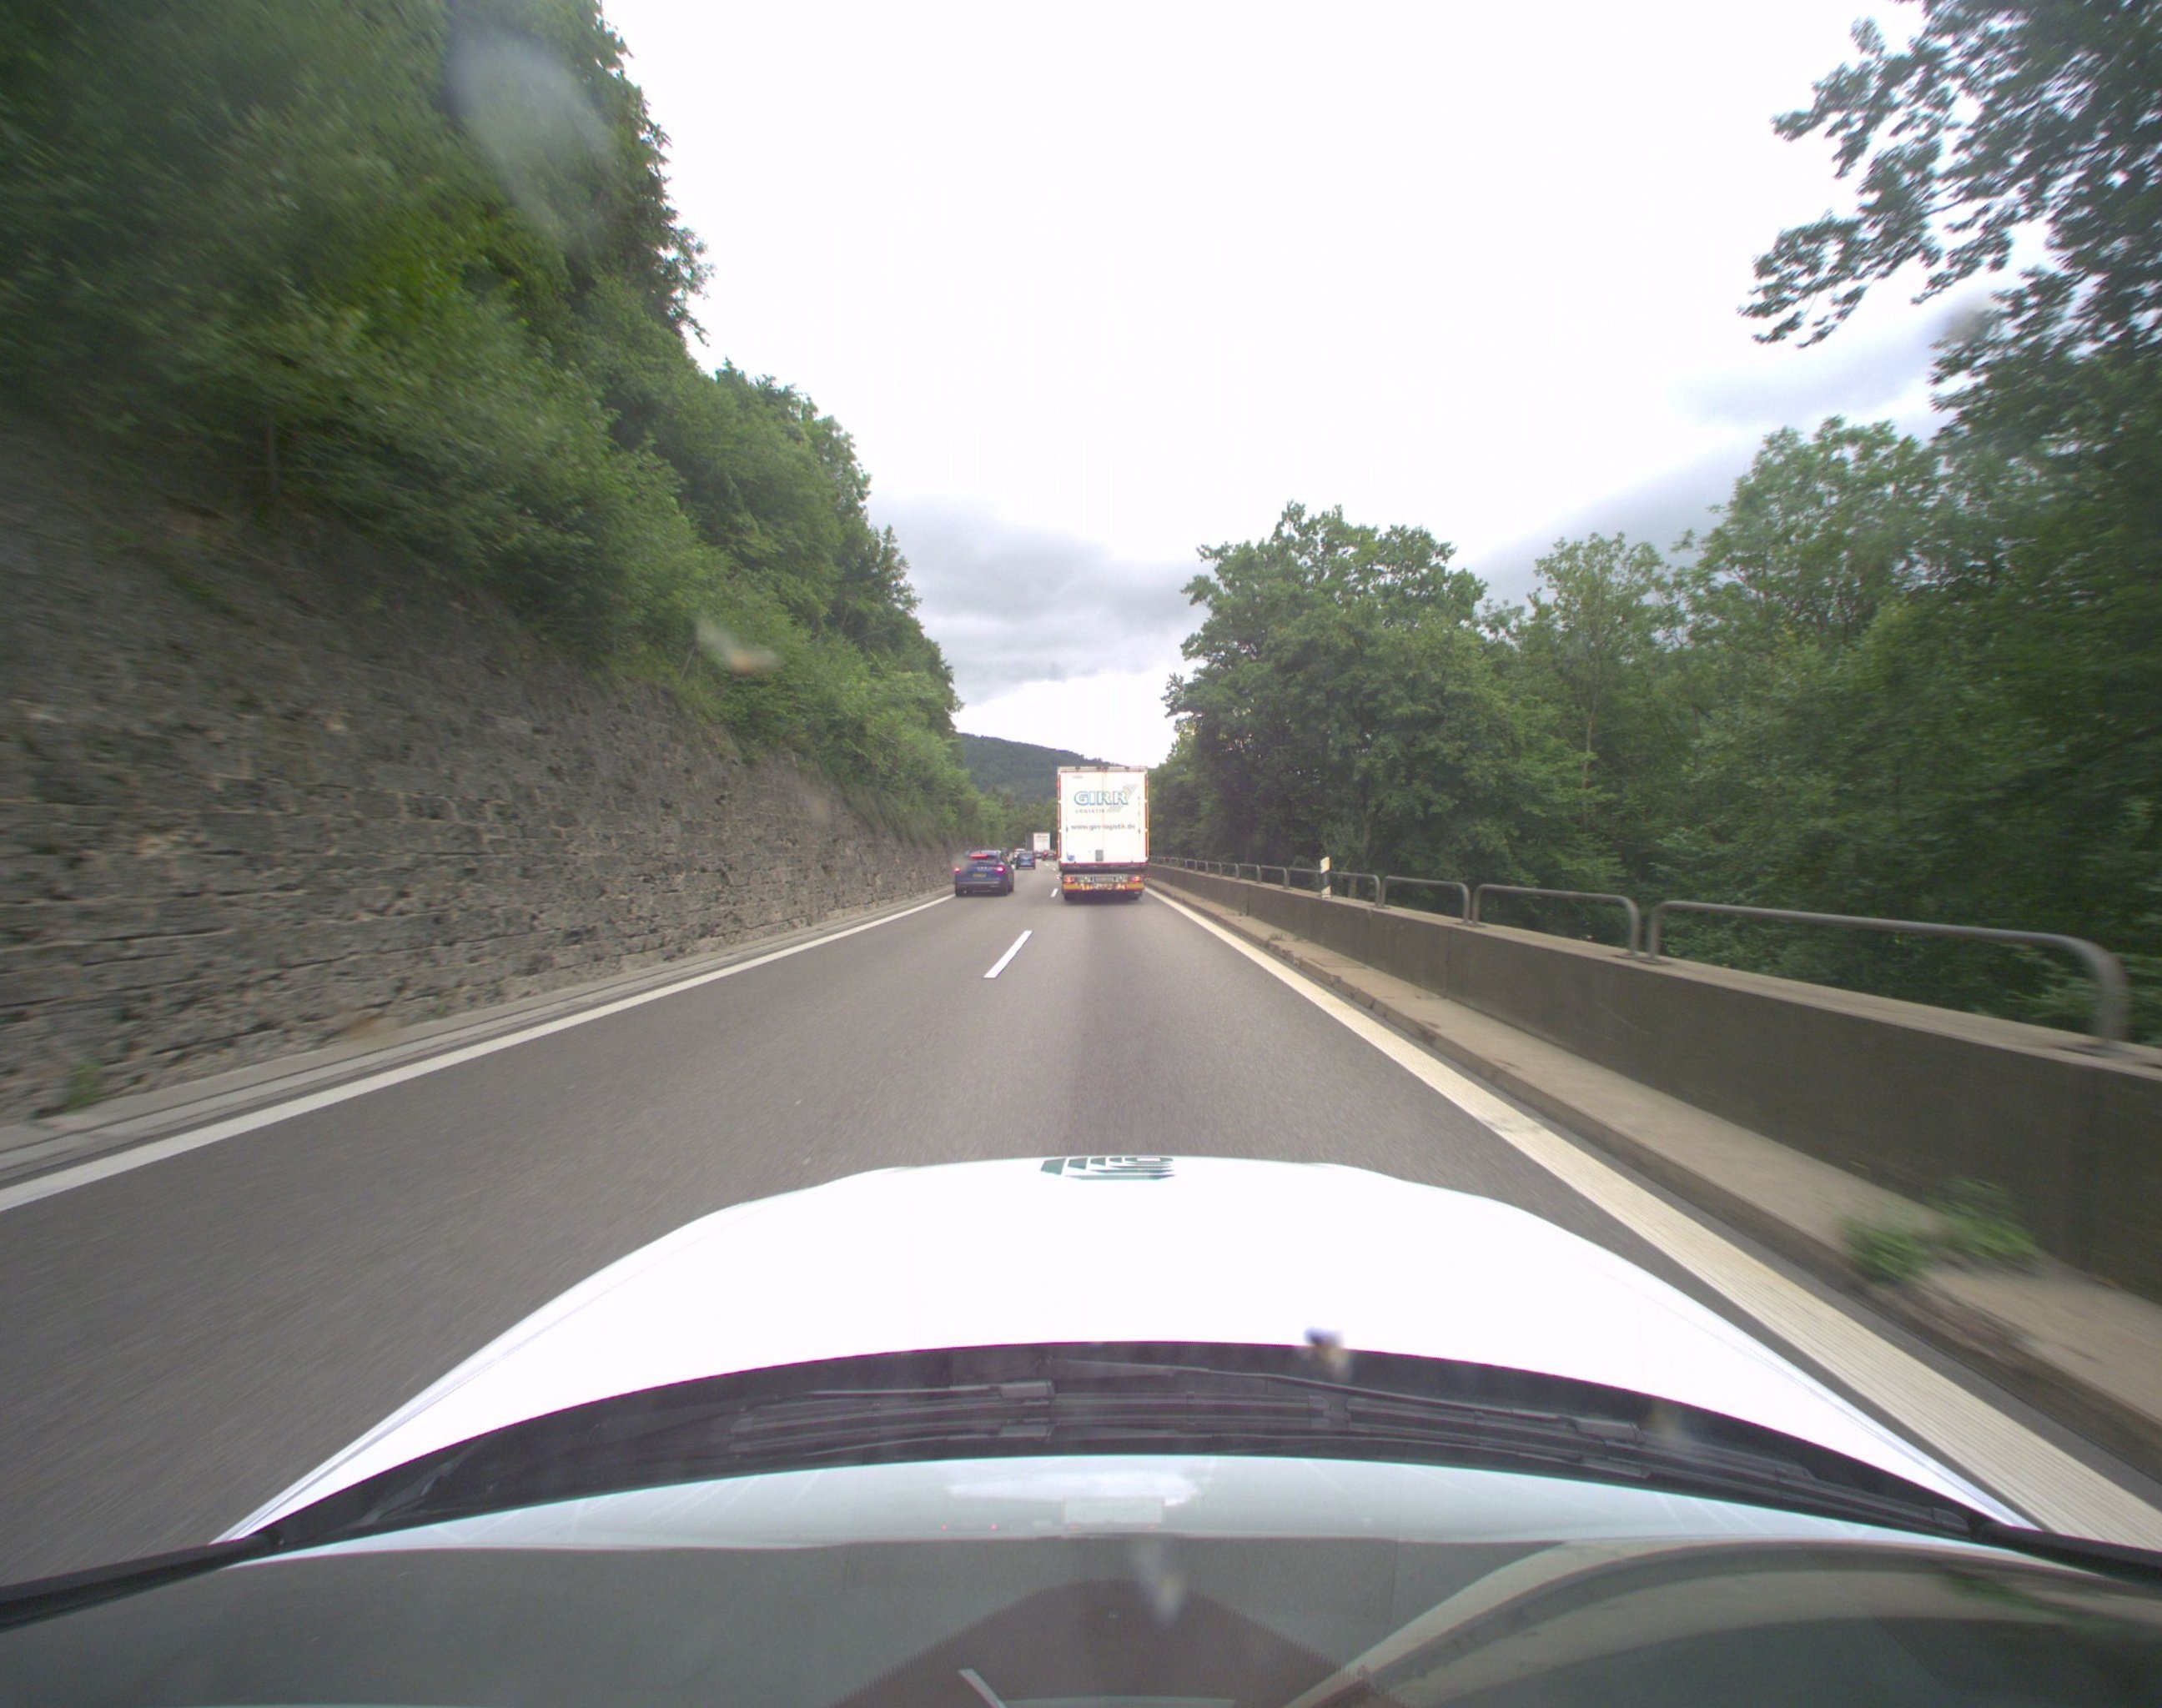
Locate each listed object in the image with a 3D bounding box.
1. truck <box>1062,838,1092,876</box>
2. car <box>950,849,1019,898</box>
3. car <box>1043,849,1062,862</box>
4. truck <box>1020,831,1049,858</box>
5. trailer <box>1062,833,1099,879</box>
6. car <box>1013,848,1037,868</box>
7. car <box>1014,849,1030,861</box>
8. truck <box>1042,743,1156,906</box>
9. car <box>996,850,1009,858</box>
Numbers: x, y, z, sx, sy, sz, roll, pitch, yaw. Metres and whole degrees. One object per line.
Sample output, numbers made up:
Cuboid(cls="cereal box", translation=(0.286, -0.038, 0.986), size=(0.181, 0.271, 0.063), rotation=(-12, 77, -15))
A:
Cuboid(cls="truck", translation=(-0.380, 0.224, 64.938), size=(2.203, 2.851, 5.000), rotation=(0, 0, -2))
Cuboid(cls="car", translation=(-3.463, 0.649, 30.142), size=(1.987, 1.632, 5.007), rotation=(-1, 1, -1))
Cuboid(cls="car", translation=(-3.759, 0.167, 106.640), size=(2.059, 1.654, 3.989), rotation=(-1, 0, -8))
Cuboid(cls="truck", translation=(-7.433, -1.448, 128.084), size=(2.636, 3.857, 12.308), rotation=(-1, 0, -12))
Cuboid(cls="trailer", translation=(-0.152, 0.094, 59.711), size=(2.207, 3.048, 11.127), rotation=(0, 0, -3))
Cuboid(cls="car", translation=(-4.770, 0.315, 69.452), size=(1.990, 1.596, 4.347), rotation=(0, 0, -4))
Cuboid(cls="car", translation=(-8.067, 0.121, 110.380), size=(1.896, 1.550, 4.237), rotation=(0, 0, -8))
Cuboid(cls="truck", translation=(0.630, -0.865, 30.151), size=(3.073, 4.464, 15.158), rotation=(-1, 0, 1))
Cuboid(cls="car", translation=(-14.375, -0.038, 149.214), size=(1.899, 1.550, 4.231), rotation=(0, 0, -13))
